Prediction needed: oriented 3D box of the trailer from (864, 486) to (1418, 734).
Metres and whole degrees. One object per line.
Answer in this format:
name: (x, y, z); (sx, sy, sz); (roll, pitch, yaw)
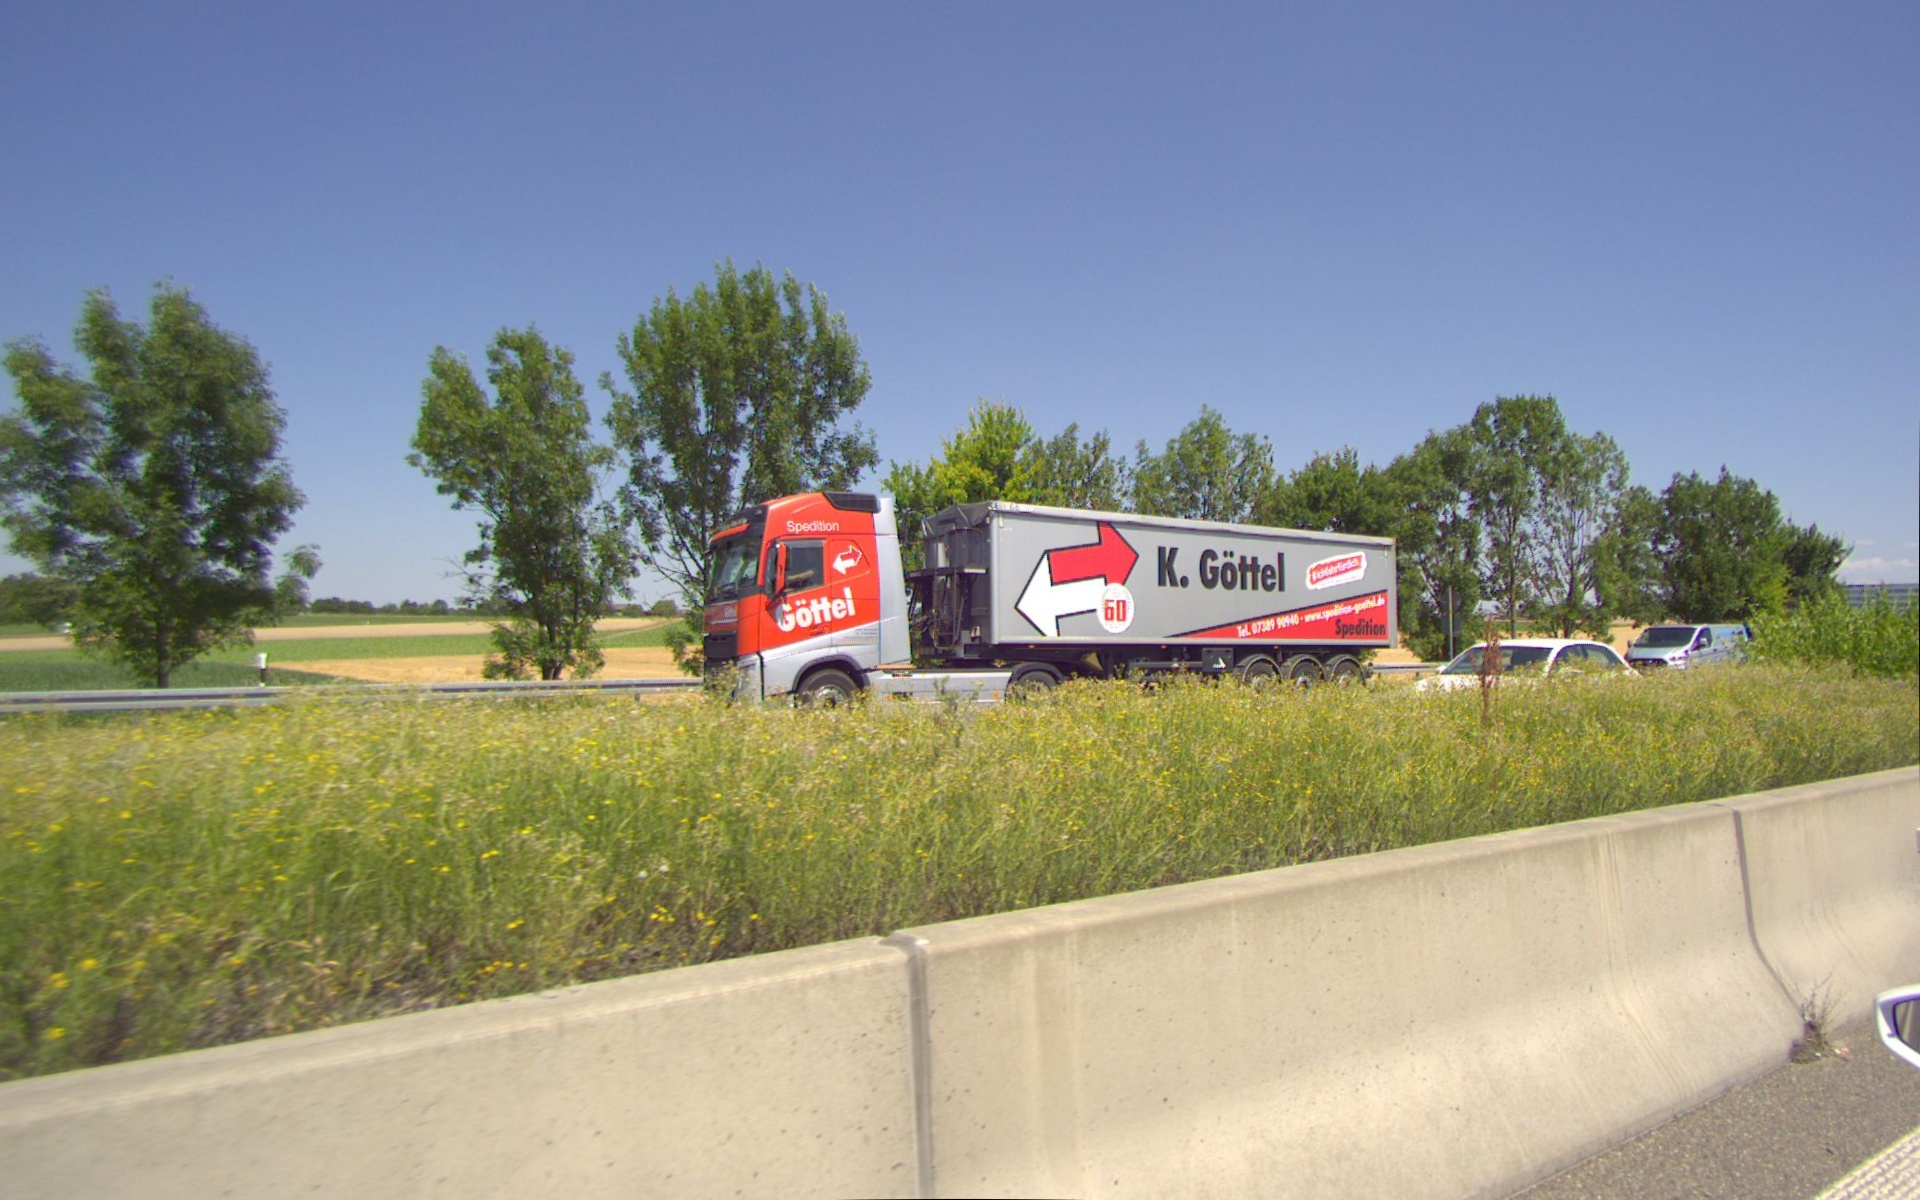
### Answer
trailer: (4.133, 0.313, 20.127); (12.044, 3.906, 2.842); (1, -2, -31)

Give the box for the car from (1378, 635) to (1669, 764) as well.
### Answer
car: (7.359, 1.184, 13.055); (3.772, 1.435, 1.685); (1, -1, -31)

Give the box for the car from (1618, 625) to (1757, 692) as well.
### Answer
car: (23.064, 1.819, 31.803); (5.060, 1.978, 1.753); (1, -3, -32)

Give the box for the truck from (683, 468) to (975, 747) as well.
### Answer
truck: (-2.159, 0.186, 16.351); (3.954, 3.906, 2.843); (1, -2, -31)
